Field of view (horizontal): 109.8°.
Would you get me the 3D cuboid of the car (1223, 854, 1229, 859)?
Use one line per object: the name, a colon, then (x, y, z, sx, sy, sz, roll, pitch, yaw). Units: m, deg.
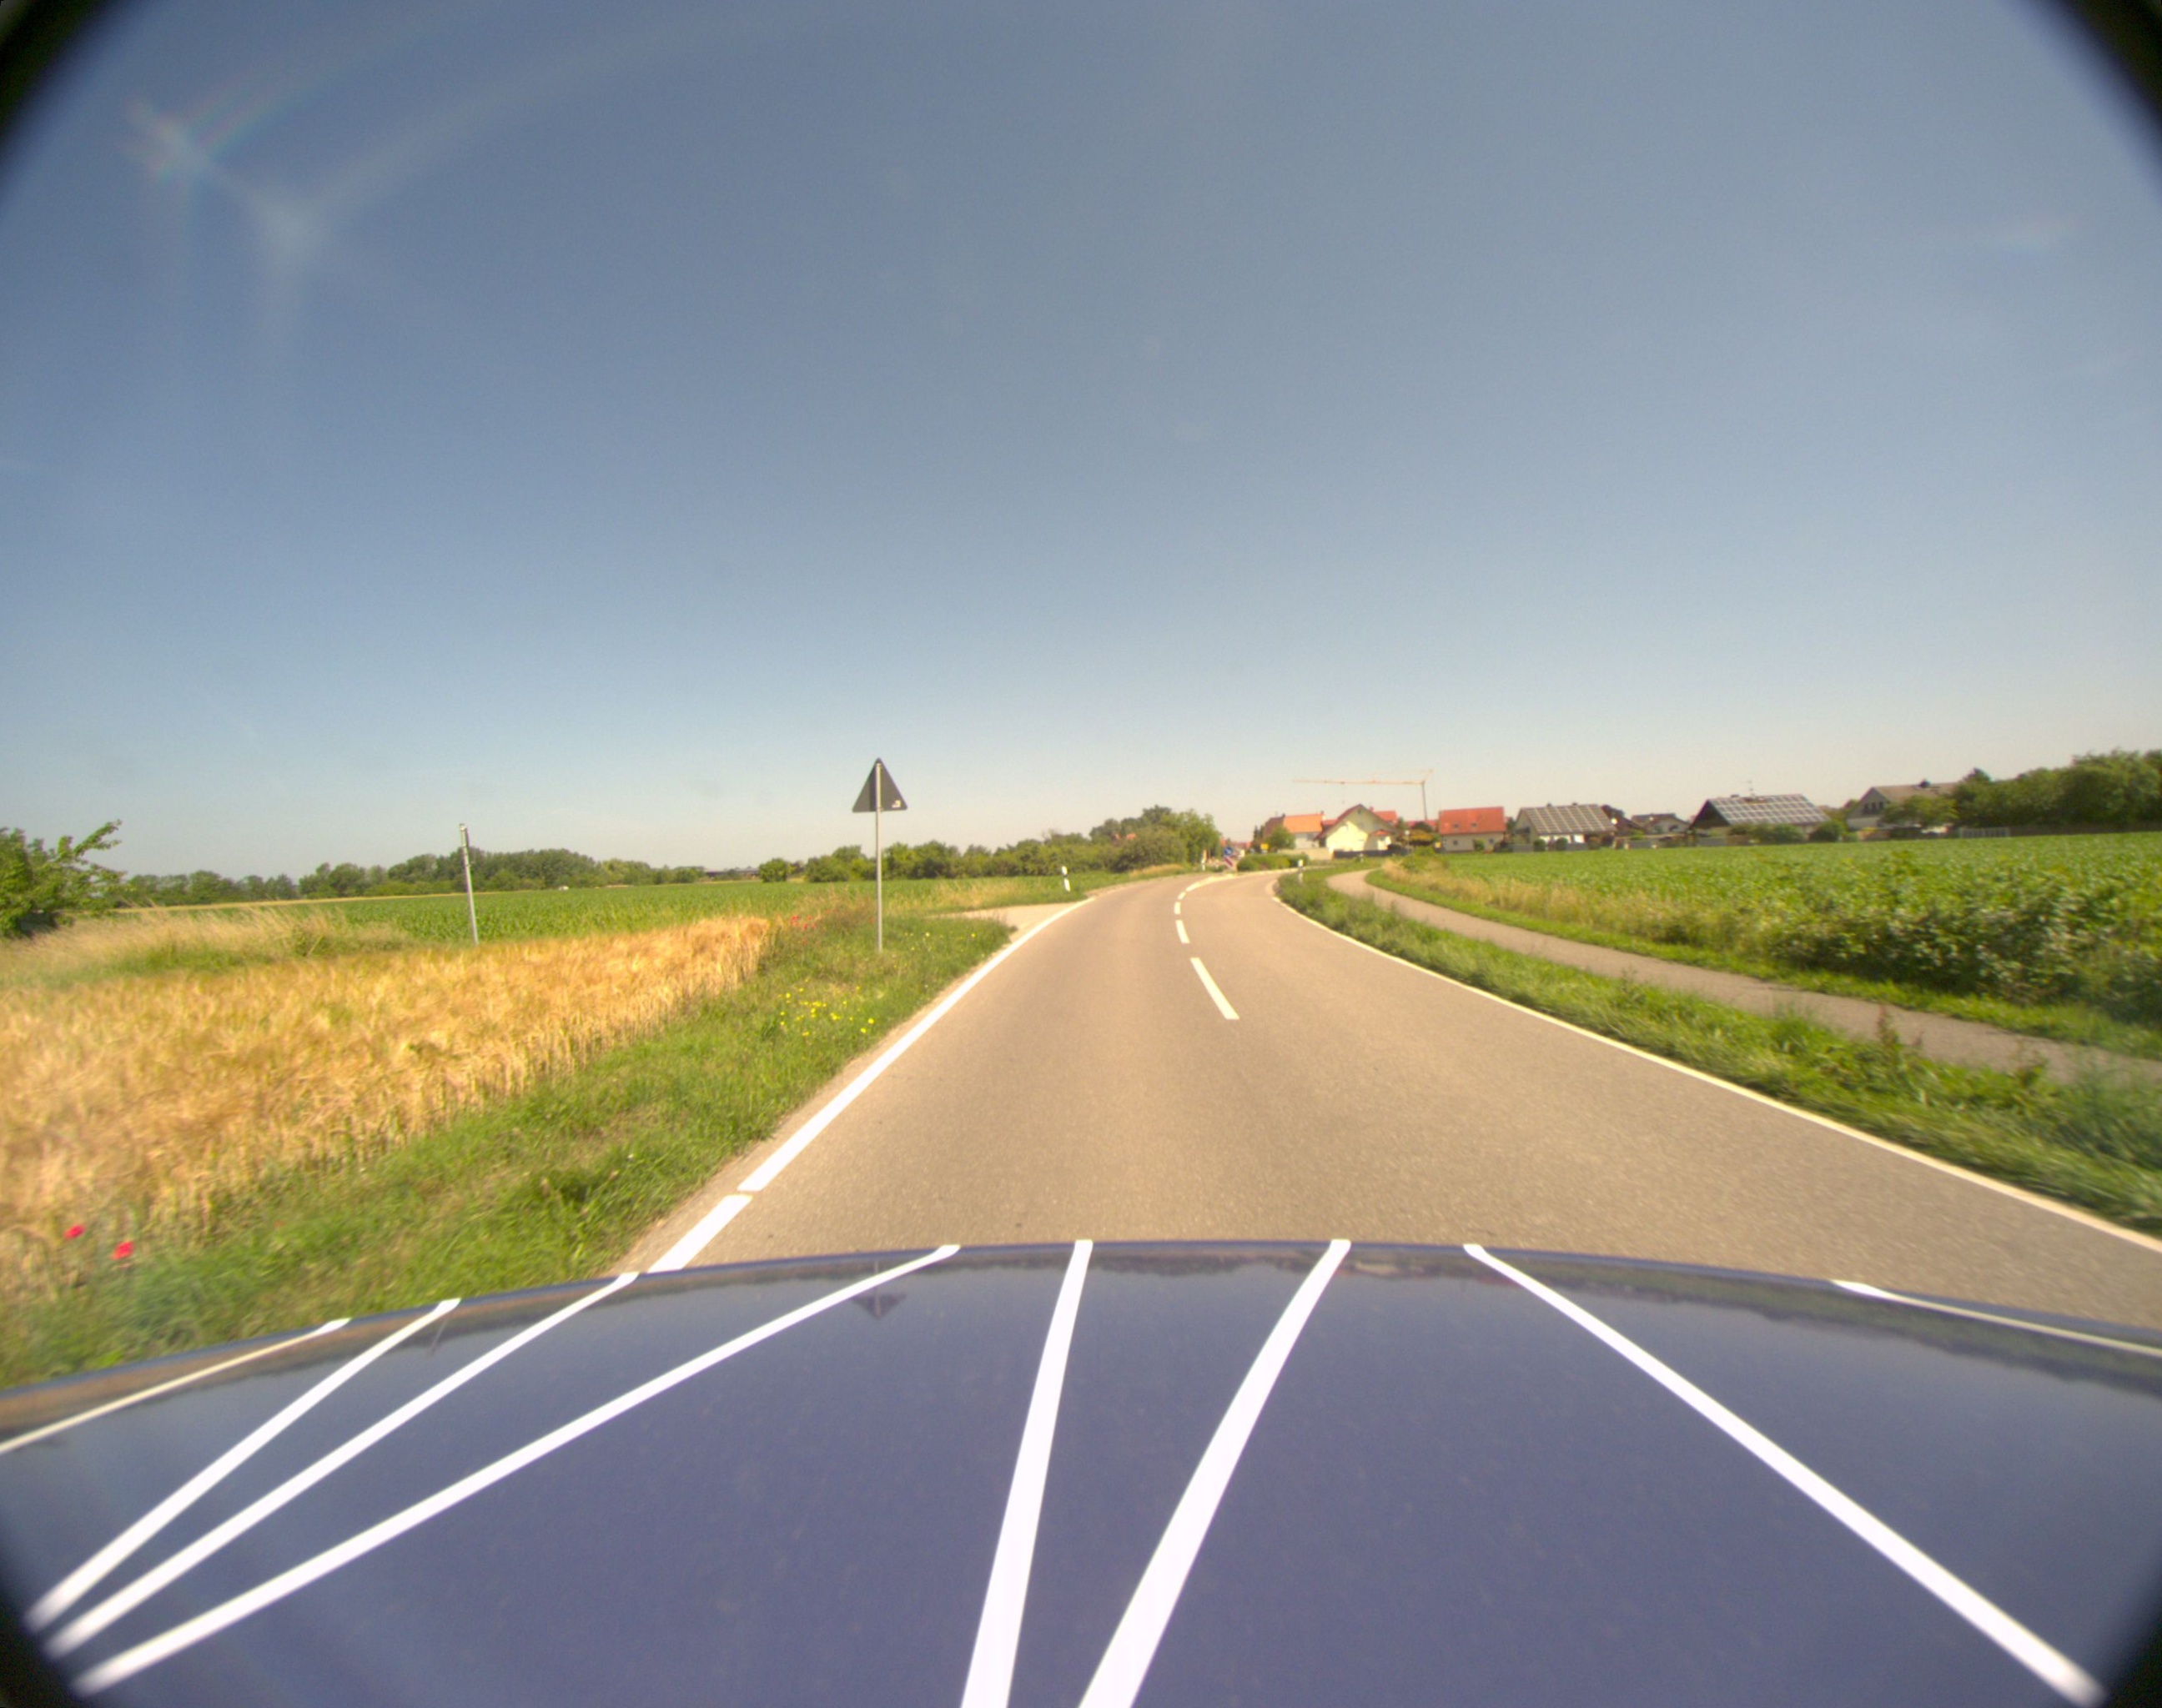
car: (45.881, 0.714, 240.762, 1.731, 1.379, 3.535, -2, 0, 12)
